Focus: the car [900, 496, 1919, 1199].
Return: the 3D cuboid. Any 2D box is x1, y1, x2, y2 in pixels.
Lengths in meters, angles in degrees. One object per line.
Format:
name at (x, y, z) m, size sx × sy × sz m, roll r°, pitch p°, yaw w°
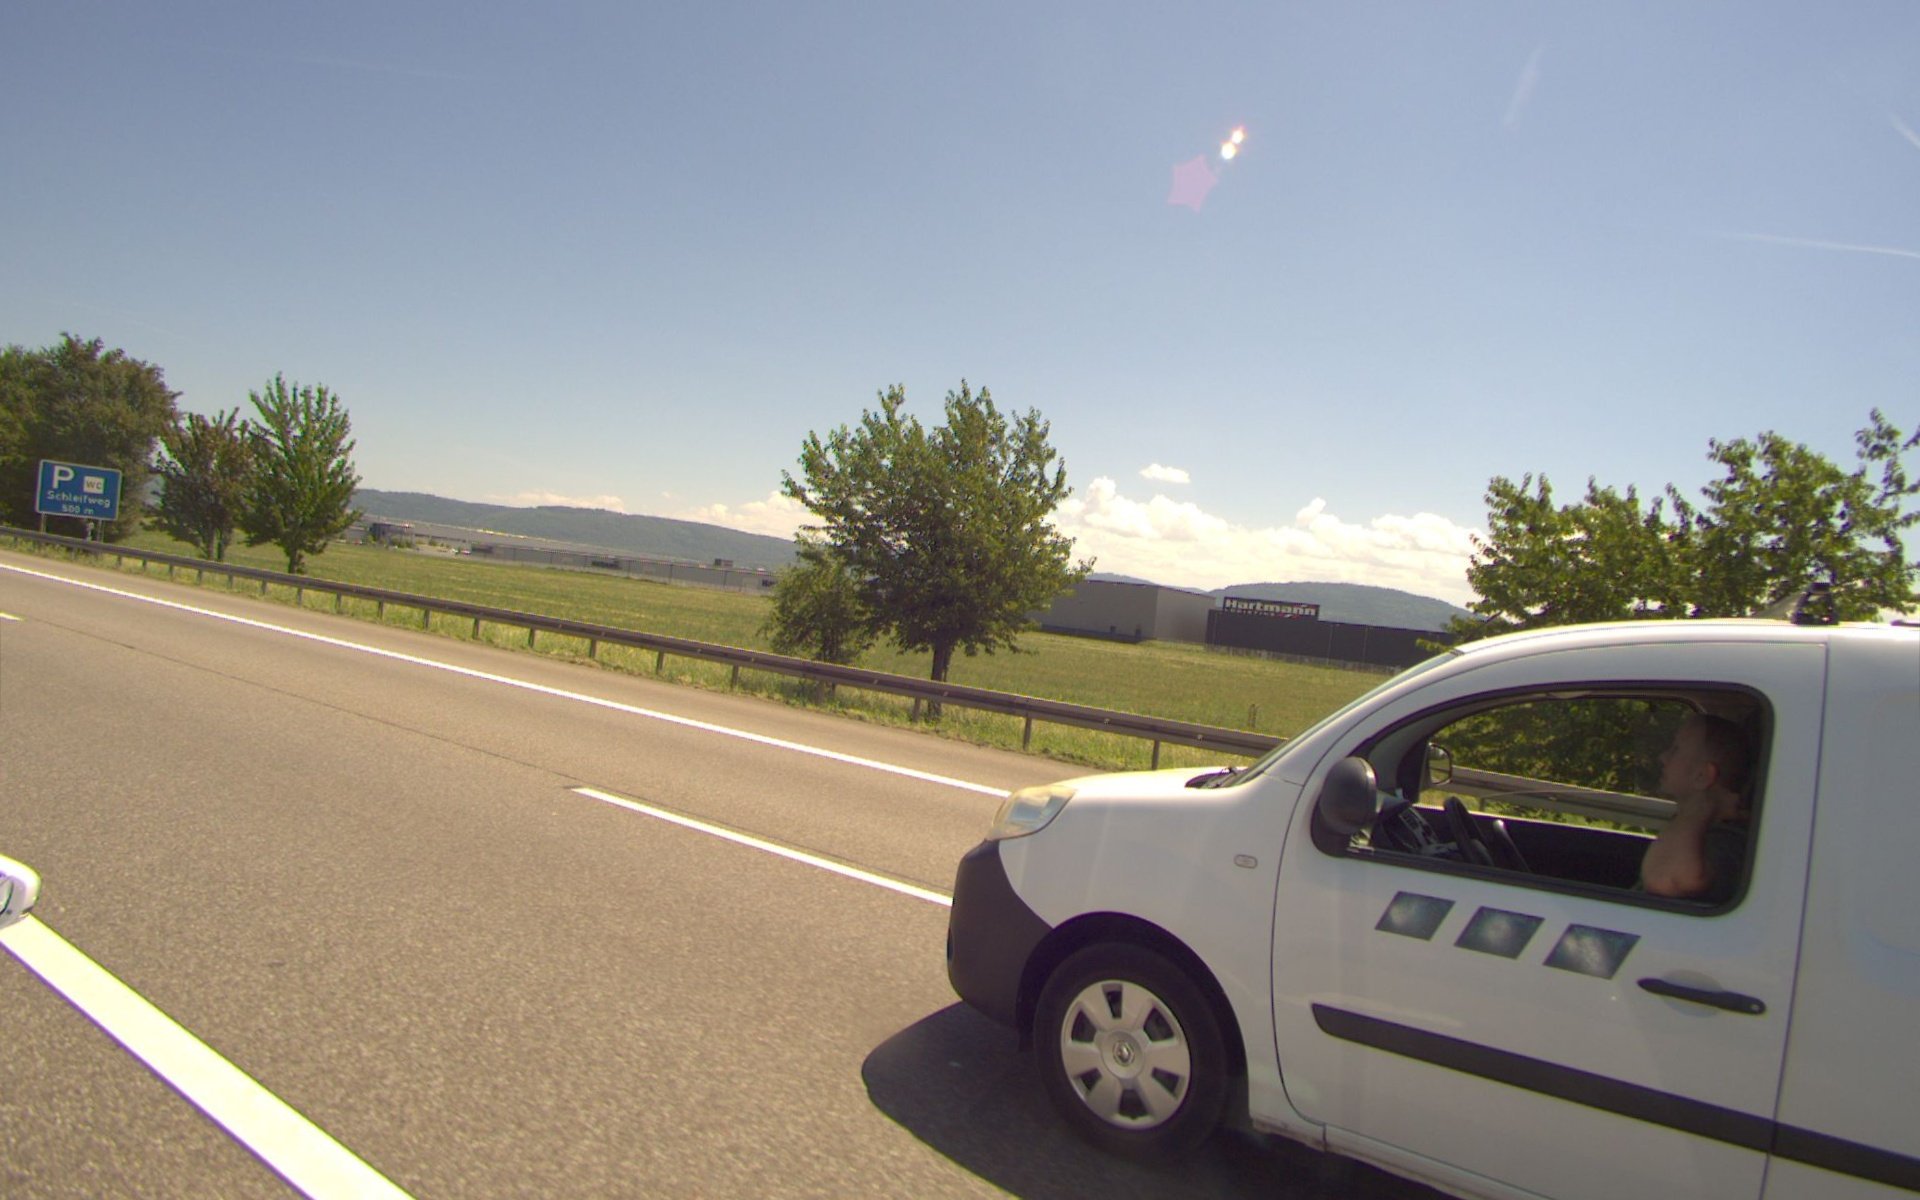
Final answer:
car at (2.350, 0.912, 2.895) m, size 4.624 × 1.884 × 1.857 m, roll 6°, pitch -2°, yaw 31°
